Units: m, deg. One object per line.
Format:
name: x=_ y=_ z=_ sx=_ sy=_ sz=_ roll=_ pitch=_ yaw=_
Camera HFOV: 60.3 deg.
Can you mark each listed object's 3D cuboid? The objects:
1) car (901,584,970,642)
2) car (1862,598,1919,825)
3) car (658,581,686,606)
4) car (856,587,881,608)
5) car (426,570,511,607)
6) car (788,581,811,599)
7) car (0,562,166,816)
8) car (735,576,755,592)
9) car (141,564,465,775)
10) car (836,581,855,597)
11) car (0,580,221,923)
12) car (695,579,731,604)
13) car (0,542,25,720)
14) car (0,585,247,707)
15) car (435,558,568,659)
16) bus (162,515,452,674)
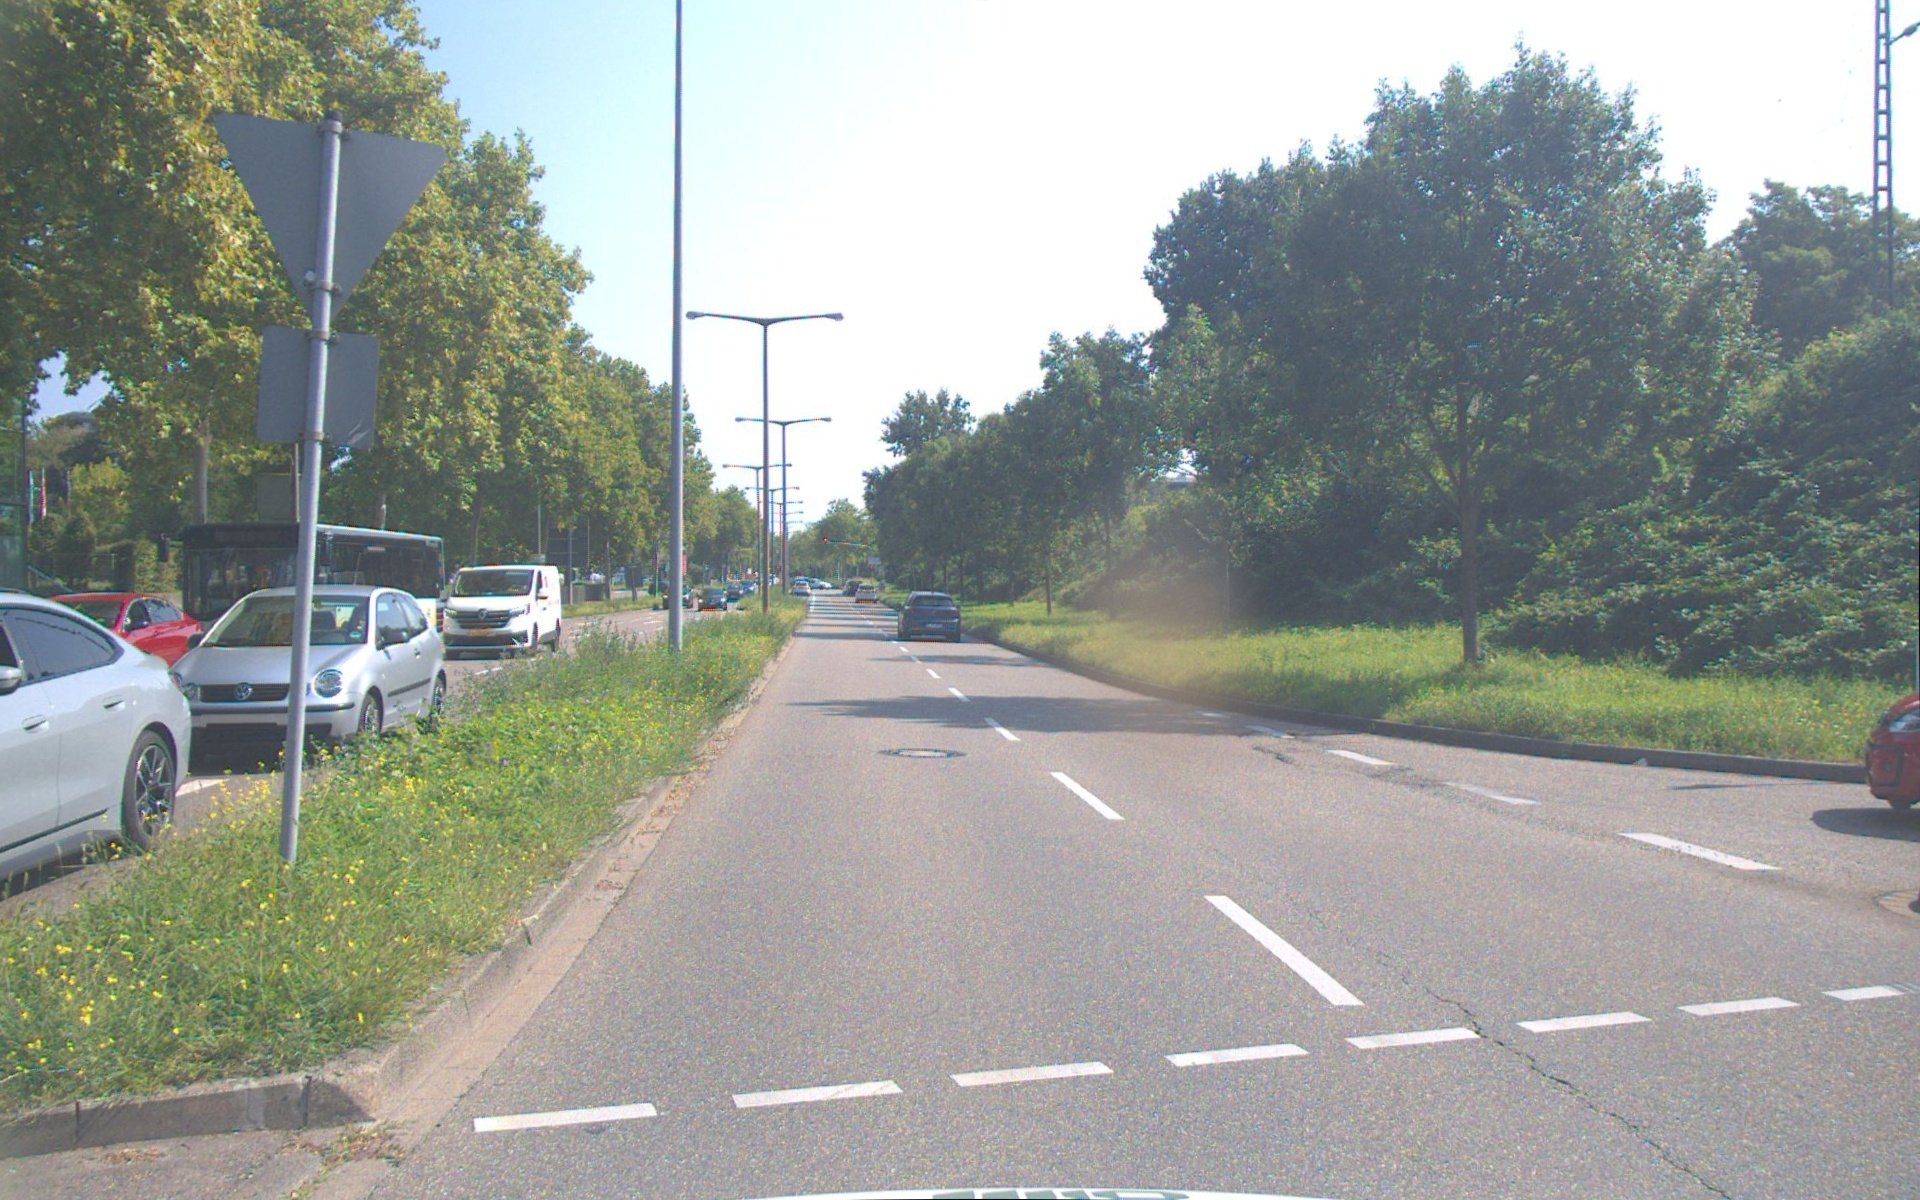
car: x=-0.784 y=0.370 z=49.647 sx=1.746 sy=1.452 sz=3.997 roll=2 pitch=3 yaw=-5
car: x=8.002 y=0.741 z=10.978 sx=3.473 sy=1.493 sz=1.642 roll=0 pitch=0 yaw=27
car: x=-19.954 y=-0.448 z=114.631 sx=1.811 sy=1.633 sz=4.600 roll=1 pitch=-1 yaw=-9
car: x=-7.739 y=-0.216 z=139.061 sx=1.955 sy=1.683 sz=3.995 roll=-1 pitch=0 yaw=-5
car: x=-35.067 y=-0.821 z=118.126 sx=5.477 sy=2.377 sz=2.276 roll=2 pitch=3 yaw=-7
car: x=-15.920 y=-0.964 z=164.151 sx=1.953 sy=1.731 sz=3.999 roll=-1 pitch=0 yaw=-1
car: x=-8.032 y=0.684 z=12.868 sx=1.684 sy=1.881 sz=4.699 roll=-2 pitch=0 yaw=-4
car: x=-21.431 y=-1.579 z=164.829 sx=1.955 sy=1.612 sz=4.340 roll=0 pitch=0 yaw=-7
car: x=-5.693 y=0.490 z=14.863 sx=1.583 sy=1.561 sz=4.096 roll=-2 pitch=2 yaw=-6
car: x=-12.906 y=-1.276 z=186.325 sx=1.955 sy=1.683 sz=3.995 roll=2 pitch=0 yaw=-6
car: x=-5.075 y=0.677 z=7.425 sx=1.800 sy=1.468 sz=4.600 roll=-2 pitch=1 yaw=-6
car: x=-15.338 y=-0.525 z=102.865 sx=1.809 sy=1.516 sz=4.639 roll=-2 pitch=0 yaw=-4
car: x=-11.188 y=0.371 z=16.362 sx=1.890 sy=1.929 sz=3.971 roll=-2 pitch=0 yaw=-6
car: x=-12.254 y=0.607 z=24.221 sx=1.745 sy=1.537 sz=5.207 roll=-2 pitch=0 yaw=-5
car: x=-10.001 y=0.104 z=36.476 sx=1.890 sy=1.994 sz=5.184 roll=-2 pitch=2 yaw=-6
bus: x=-13.267 y=-0.126 z=34.827 sx=2.610 sy=2.741 sz=10.894 roll=-2 pitch=0 yaw=-5
